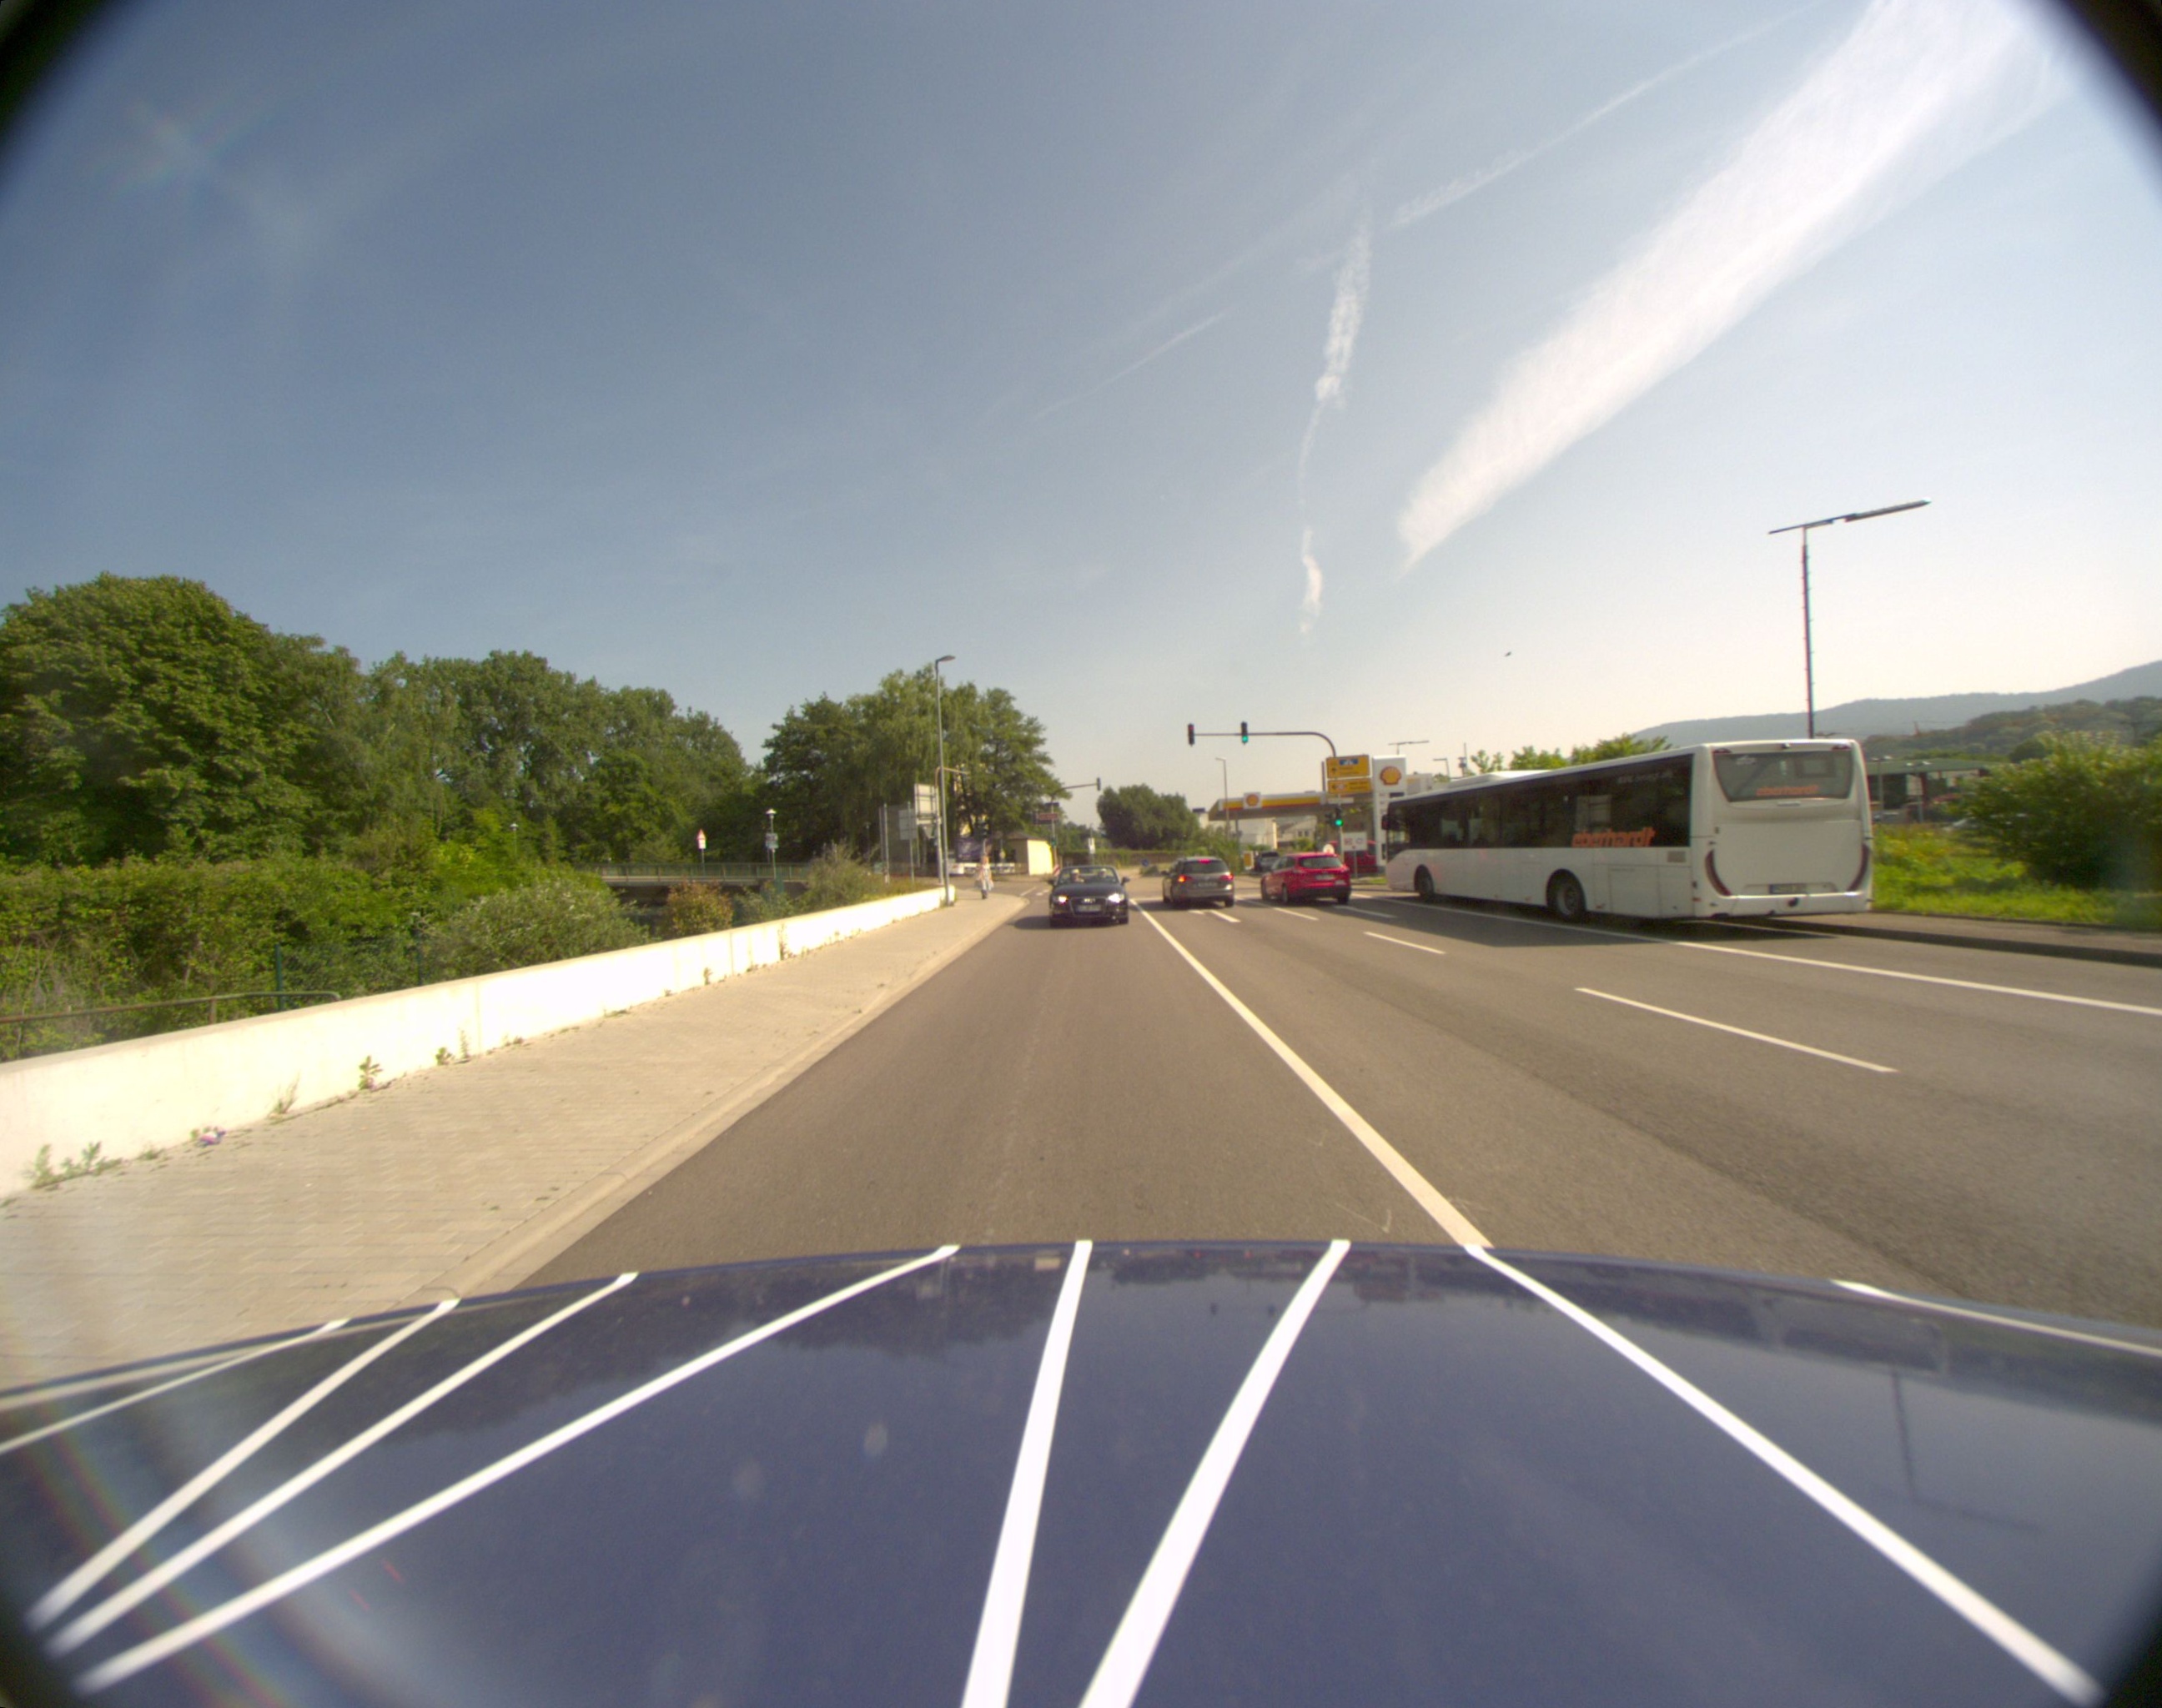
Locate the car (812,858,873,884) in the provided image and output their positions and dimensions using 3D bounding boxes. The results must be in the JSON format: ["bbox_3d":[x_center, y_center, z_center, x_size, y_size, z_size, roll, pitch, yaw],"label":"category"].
[{"bbox_3d":[-15.037,1.022,47.773,4.072,1.509,1.671,0,1,39],"label":"car"}]

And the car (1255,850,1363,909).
[{"bbox_3d":[6.612,0.676,22.553,1.842,1.483,4.431,-2,1,0],"label":"car"}]

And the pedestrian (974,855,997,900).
[{"bbox_3d":[-3.637,0.876,28.901,0.713,1.661,0.592,-3,1,-17],"label":"pedestrian"}]

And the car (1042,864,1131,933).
[{"bbox_3d":[0.222,0.991,18.444,1.868,1.323,4.233,-2,0,3],"label":"car"}]

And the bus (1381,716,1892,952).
[{"bbox_3d":[10.379,-0.336,16.918,2.627,3.291,11.955,-2,1,0],"label":"bus"}]

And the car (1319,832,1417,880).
[{"bbox_3d":[13.269,0.109,35.299,3.783,1.785,1.703,-6,0,6],"label":"car"}]

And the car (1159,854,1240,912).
[{"bbox_3d":[3.408,0.782,22.522,1.776,1.464,4.219,-2,1,1],"label":"car"}]
